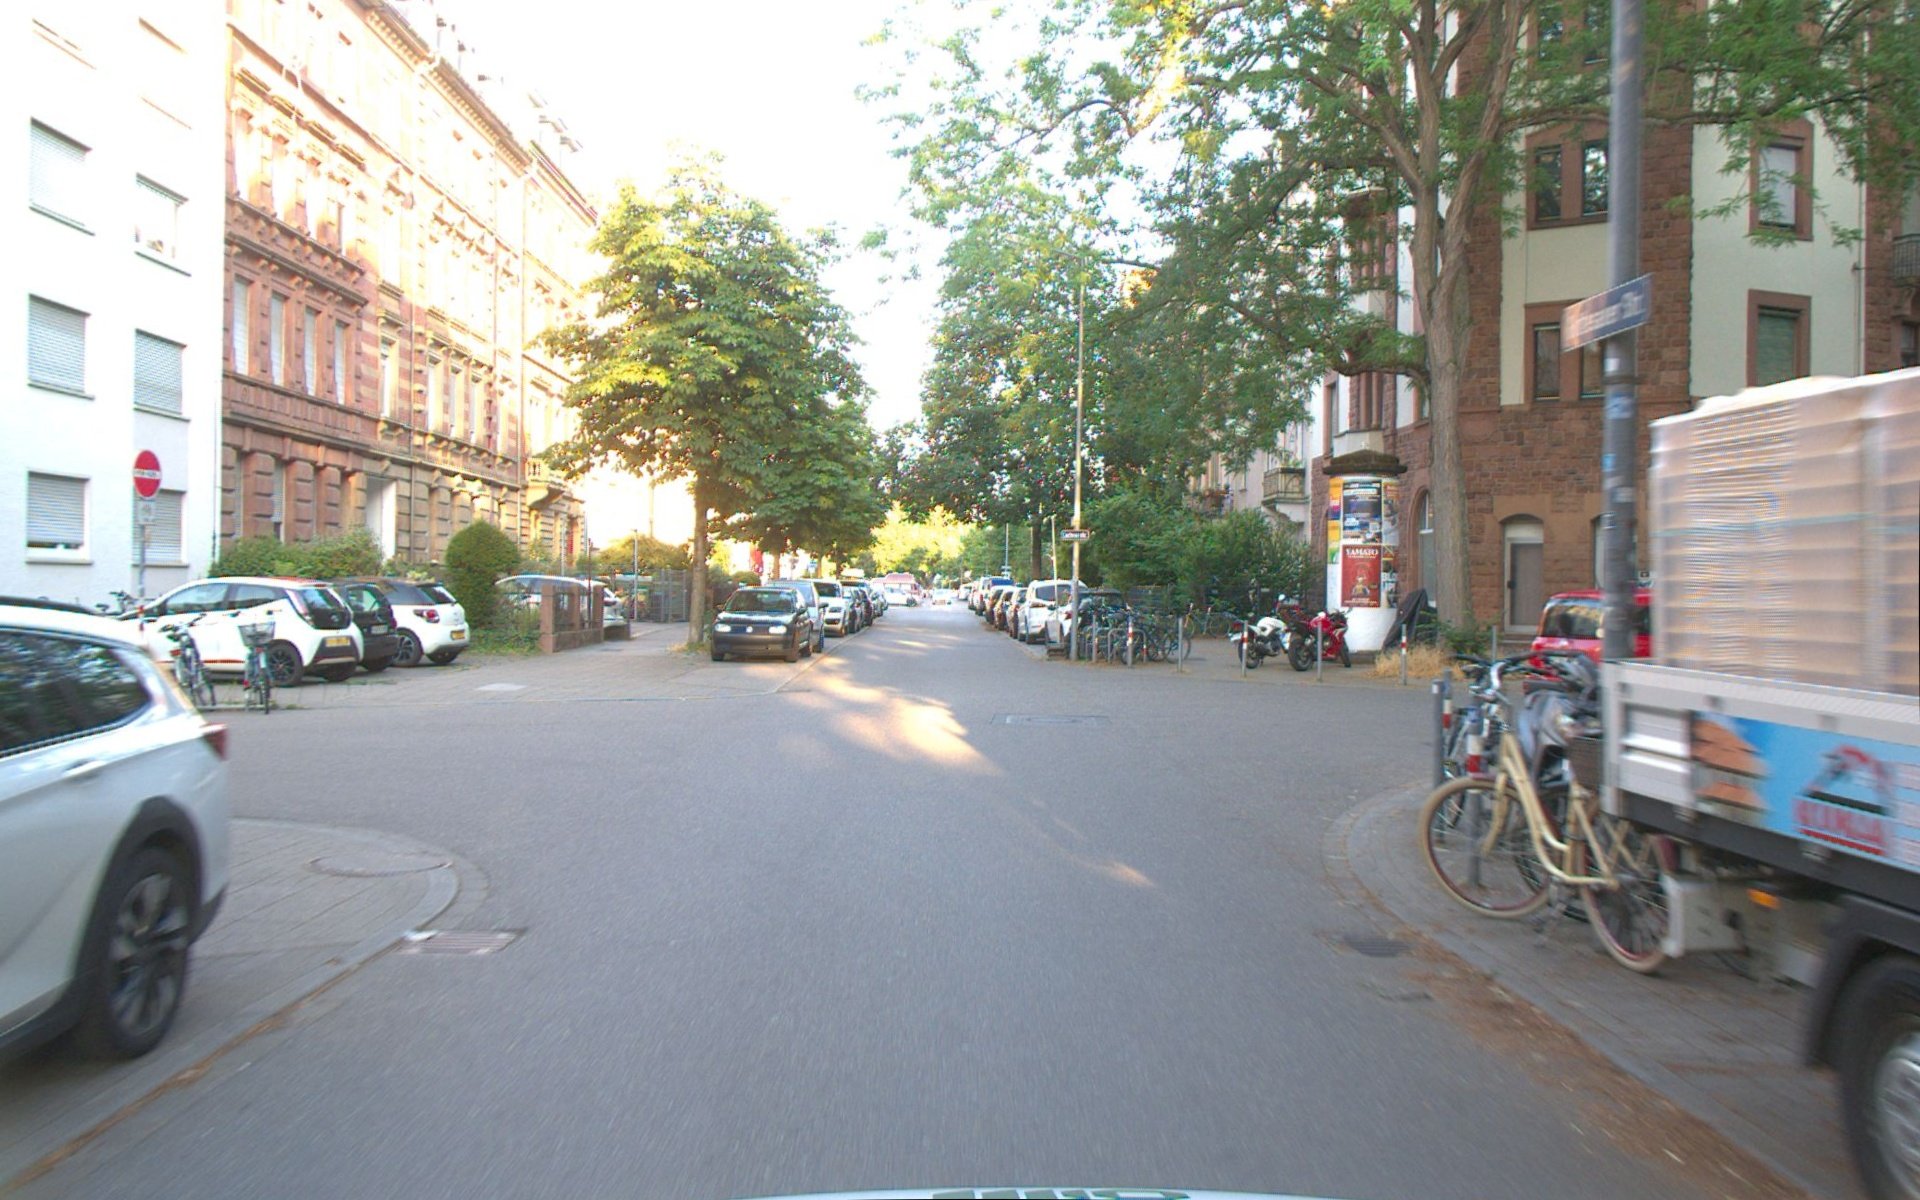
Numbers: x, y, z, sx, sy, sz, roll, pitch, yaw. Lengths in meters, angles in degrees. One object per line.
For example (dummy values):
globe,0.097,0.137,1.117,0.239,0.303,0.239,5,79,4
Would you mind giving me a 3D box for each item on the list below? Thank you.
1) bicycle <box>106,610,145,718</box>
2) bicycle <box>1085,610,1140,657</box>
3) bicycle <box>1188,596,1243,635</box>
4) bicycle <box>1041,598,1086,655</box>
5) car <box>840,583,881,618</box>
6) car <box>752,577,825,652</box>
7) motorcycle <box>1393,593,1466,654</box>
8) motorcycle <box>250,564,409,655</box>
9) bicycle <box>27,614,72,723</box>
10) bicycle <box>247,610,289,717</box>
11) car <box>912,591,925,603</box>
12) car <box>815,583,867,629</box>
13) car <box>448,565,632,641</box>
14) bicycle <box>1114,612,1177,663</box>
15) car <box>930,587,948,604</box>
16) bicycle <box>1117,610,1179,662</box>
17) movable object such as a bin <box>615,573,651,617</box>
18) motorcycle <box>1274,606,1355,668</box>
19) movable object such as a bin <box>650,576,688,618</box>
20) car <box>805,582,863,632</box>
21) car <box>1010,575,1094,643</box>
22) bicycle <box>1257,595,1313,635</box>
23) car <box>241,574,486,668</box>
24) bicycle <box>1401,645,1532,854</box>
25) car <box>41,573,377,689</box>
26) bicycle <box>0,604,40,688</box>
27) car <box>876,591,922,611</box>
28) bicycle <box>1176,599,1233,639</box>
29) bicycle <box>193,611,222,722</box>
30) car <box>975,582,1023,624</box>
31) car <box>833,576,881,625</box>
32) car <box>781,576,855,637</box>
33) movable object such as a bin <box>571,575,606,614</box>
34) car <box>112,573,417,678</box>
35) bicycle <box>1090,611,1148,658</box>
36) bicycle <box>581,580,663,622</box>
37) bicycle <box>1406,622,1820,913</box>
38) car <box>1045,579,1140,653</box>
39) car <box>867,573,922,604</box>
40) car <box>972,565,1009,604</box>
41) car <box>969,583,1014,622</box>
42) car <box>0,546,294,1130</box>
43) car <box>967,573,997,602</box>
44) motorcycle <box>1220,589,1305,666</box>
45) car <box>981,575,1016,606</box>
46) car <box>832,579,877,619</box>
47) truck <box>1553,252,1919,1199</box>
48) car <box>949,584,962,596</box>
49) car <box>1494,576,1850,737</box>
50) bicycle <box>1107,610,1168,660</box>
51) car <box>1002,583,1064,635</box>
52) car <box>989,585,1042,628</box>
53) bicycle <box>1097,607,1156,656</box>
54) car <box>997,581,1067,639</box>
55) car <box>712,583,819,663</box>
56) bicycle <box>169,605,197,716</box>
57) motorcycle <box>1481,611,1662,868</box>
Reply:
bicycle,-9.441,0.695,18.723,0.361,1.128,1.836,1,0,-27
bicycle,3.282,0.709,35.634,1.210,0.968,0.327,-1,2,-29
bicycle,7.057,0.422,45.673,1.479,1.052,0.330,-1,1,-3
bicycle,2.248,0.554,35.835,0.434,1.193,1.635,1,0,24
car,-4.517,-0.007,75.366,1.681,1.490,3.986,1,1,-1
car,-3.964,0.291,38.604,1.564,1.631,3.741,1,1,-4
motorcycle,9.150,0.443,32.177,0.430,1.098,2.096,2,2,44
motorcycle,-11.886,0.167,31.214,2.791,1.667,0.675,1,0,7
bicycle,-10.196,0.737,18.541,0.361,1.128,1.836,1,0,-27
bicycle,-8.141,0.716,19.432,0.332,1.202,1.861,1,-1,-27
car,-5.681,-0.437,227.819,1.681,1.624,3.482,1,1,-1
car,-4.351,0.184,60.989,1.681,1.593,3.787,1,1,-1
car,-10.263,0.067,40.590,4.011,1.554,1.708,4,0,-2
bicycle,3.703,0.746,33.016,1.199,1.004,0.330,-1,1,-3
car,-2.088,-0.471,167.100,1.776,1.624,3.482,1,1,-1
bicycle,3.787,0.723,33.385,1.200,1.005,0.330,-1,1,-5
movable object such as a bin,-11.134,-0.178,56.292,1.078,1.439,1.001,2,1,-15
motorcycle,6.787,0.689,31.580,0.430,1.098,2.198,2,2,44
movable object such as a bin,-9.927,-0.103,56.484,0.991,1.344,1.005,3,1,4
car,-4.138,0.233,54.872,1.681,1.594,3.780,1,0,-1
car,2.452,0.222,44.887,1.762,1.741,4.598,0,0,-3
bicycle,8.925,0.406,45.382,1.479,1.052,0.330,-1,1,-3
car,-10.189,0.328,28.380,3.487,1.472,1.819,1,1,8
bicycle,3.253,0.906,10.764,0.397,1.129,2.156,-2,1,6
car,-10.532,0.401,23.308,4.005,1.472,1.711,1,1,8
bicycle,-12.666,0.604,21.461,0.387,1.081,1.878,1,0,0
car,-4.736,0.049,128.158,3.548,1.487,1.605,1,1,-5
bicycle,6.678,0.523,45.193,1.479,1.052,0.330,-1,1,-3
bicycle,-8.712,0.741,19.128,0.239,1.202,1.665,1,0,-27
car,1.569,0.117,68.209,1.653,1.634,3.937,1,0,-3
car,-4.044,-0.010,65.301,1.681,1.821,4.215,1,1,-1
car,-4.231,0.155,49.750,1.882,1.747,4.427,1,1,-1
movable object such as a bin,-12.701,-0.193,56.530,1.078,1.230,1.001,3,1,-15
car,-10.775,0.355,25.732,4.005,1.472,1.819,1,1,9
bicycle,3.371,0.731,35.023,1.207,0.964,0.328,0,2,-24
bicycle,-11.023,0.030,54.024,2.475,1.212,0.644,4,1,5
bicycle,3.149,0.783,8.000,1.866,1.280,0.406,-2,0,-7
car,3.078,0.339,38.974,1.654,1.620,3.655,1,1,-5
car,-5.199,-0.922,130.687,4.263,2.358,1.745,1,1,-3
car,1.625,-0.812,88.407,1.647,1.975,3.878,1,0,-3
car,1.340,0.097,72.377,1.653,1.634,3.937,1,0,-3
car,-3.340,0.614,3.869,1.655,1.528,4.737,3,1,-1
car,1.430,-0.808,109.145,1.653,1.843,3.937,1,0,-3
motorcycle,5.959,0.515,32.503,0.575,1.432,2.199,2,2,42
car,1.957,-0.475,84.431,1.508,1.548,3.429,1,0,-3
car,-4.446,-0.069,70.375,1.681,1.624,4.518,1,0,-1
truck,3.205,0.362,2.432,1.938,2.284,6.772,0,0,-3
car,-0.669,-1.424,227.575,1.681,1.624,3.482,1,1,-1
car,7.770,0.551,18.088,3.416,1.600,1.617,0,2,-21
bicycle,3.645,0.711,33.934,1.205,0.980,0.329,0,1,-18
car,2.366,0.282,54.706,1.653,1.634,3.746,1,0,-3
car,1.979,0.228,60.140,1.652,1.466,4.208,-1,0,-1
bicycle,3.452,0.647,34.322,1.207,0.974,0.328,0,2,-24
car,2.136,0.286,50.060,1.653,1.634,4.207,1,0,-3
car,-3.906,0.413,33.698,1.583,1.496,3.962,1,1,2
bicycle,-8.940,0.672,19.021,0.239,1.202,1.665,1,0,-27
motorcycle,3.674,0.772,10.096,0.491,1.380,2.063,-2,0,6
